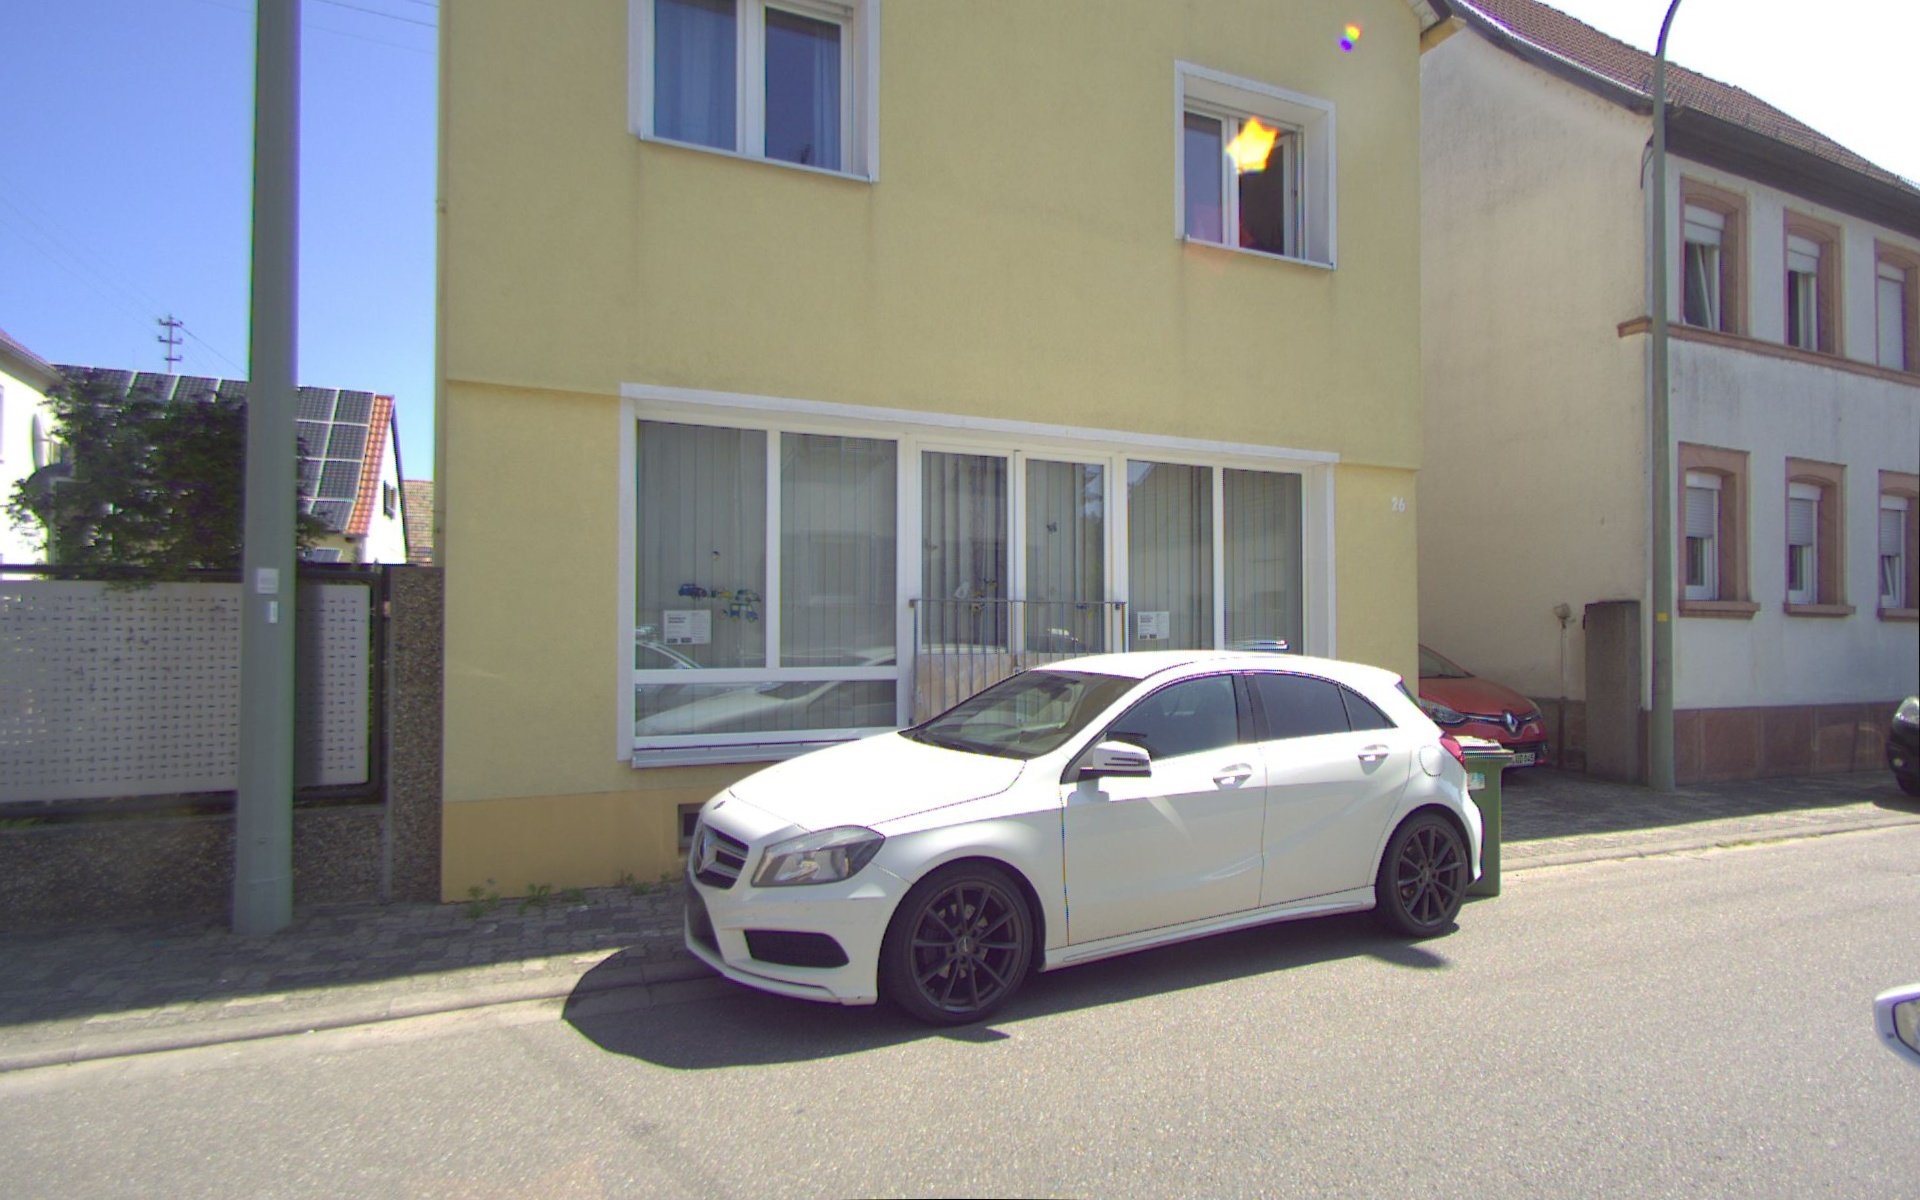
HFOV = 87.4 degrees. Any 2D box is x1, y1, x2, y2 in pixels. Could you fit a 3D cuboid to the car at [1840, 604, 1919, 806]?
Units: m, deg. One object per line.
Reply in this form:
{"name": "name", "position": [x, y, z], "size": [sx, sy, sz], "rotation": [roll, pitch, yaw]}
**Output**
{"name": "car", "position": [10.931, 0.992, 9.812], "size": [4.291, 1.861, 1.831], "rotation": [1, -2, -23]}

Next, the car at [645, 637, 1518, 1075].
{"name": "car", "position": [0.689, 0.946, 5.222], "size": [4.216, 1.483, 1.828], "rotation": [1, -3, -27]}

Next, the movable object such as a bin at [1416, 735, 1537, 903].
{"name": "movable object such as a bin", "position": [3.083, 1.291, 6.019], "size": [0.486, 0.916, 0.426], "rotation": [0, -1, -5]}

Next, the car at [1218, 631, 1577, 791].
{"name": "car", "position": [4.732, 1.108, 11.458], "size": [1.649, 1.477, 3.742], "rotation": [1, -2, -20]}
